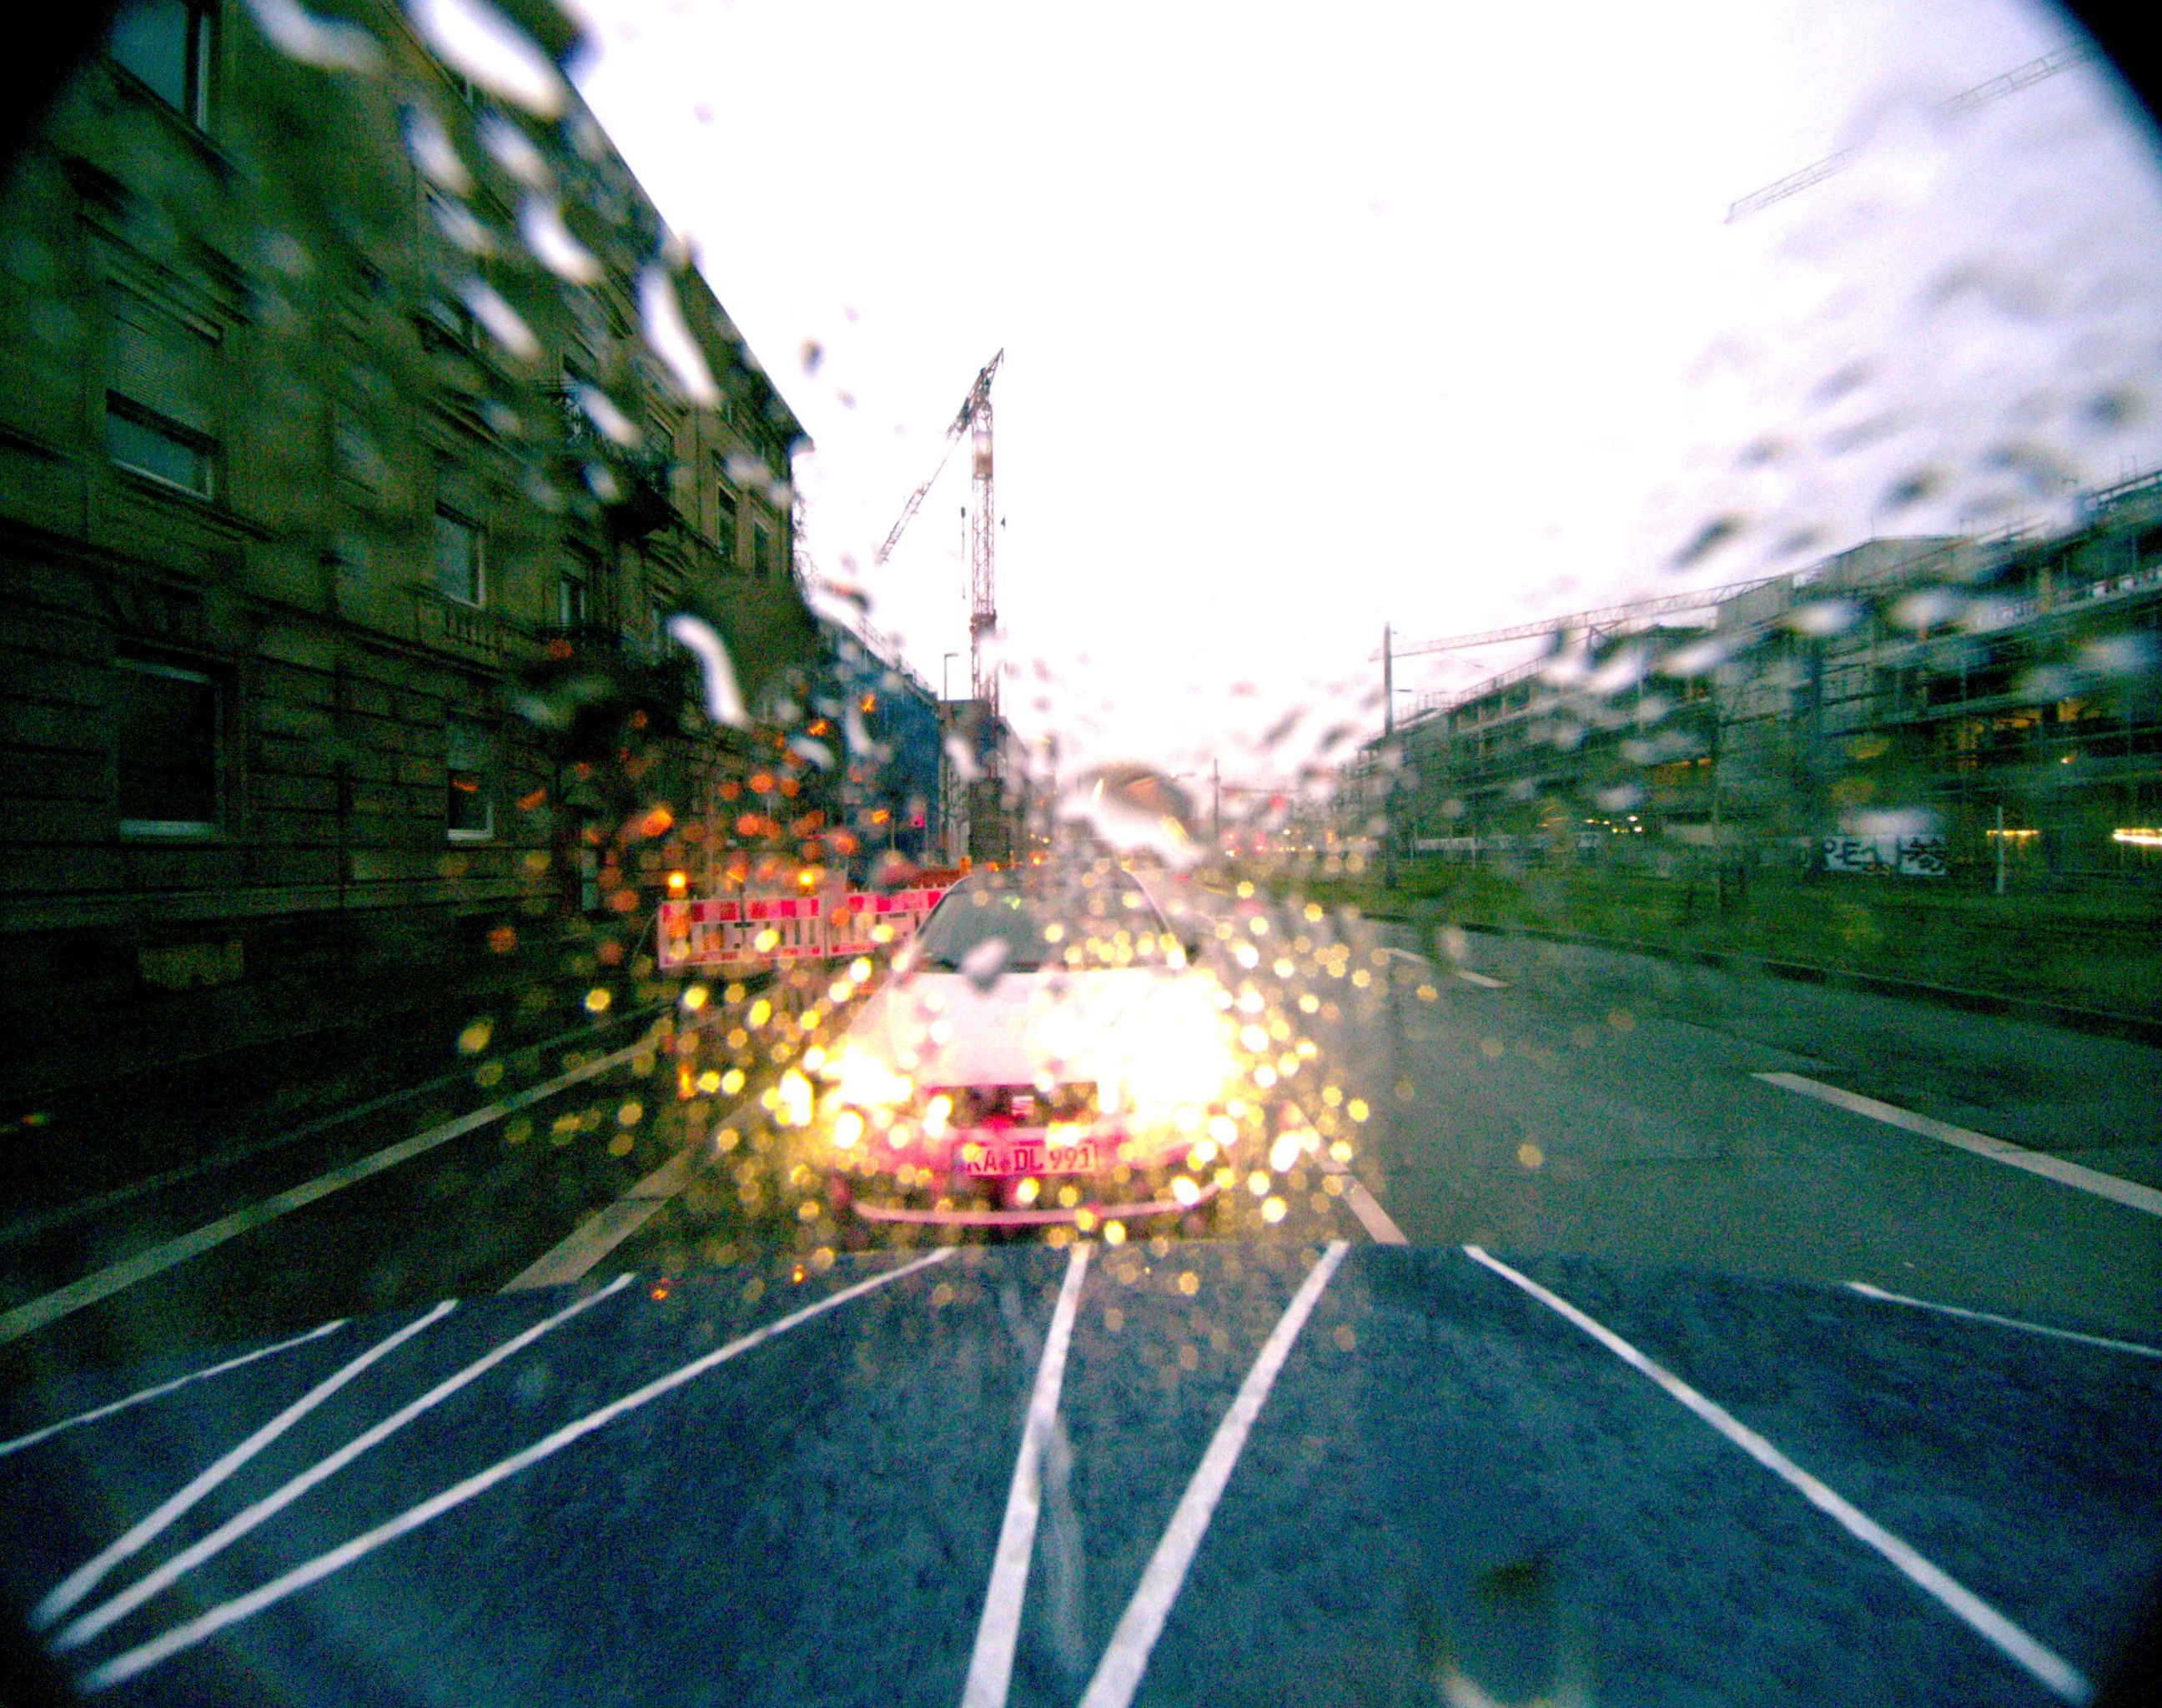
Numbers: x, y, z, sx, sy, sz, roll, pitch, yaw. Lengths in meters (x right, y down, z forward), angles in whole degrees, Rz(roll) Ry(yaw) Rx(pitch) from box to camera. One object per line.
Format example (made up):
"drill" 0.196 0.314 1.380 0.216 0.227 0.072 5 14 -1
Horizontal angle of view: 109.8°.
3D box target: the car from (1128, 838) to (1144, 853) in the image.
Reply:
"car" 6.303 -1.002 87.324 1.768 1.614 3.900 -3 1 4

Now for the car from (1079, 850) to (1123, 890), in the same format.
"car" 0.827 0.666 33.350 1.769 1.504 3.899 -3 1 0

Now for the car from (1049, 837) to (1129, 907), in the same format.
"car" 0.174 0.373 19.292 1.769 1.504 3.899 -3 1 0

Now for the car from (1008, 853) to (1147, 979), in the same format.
"car" -0.054 0.821 11.993 1.769 1.504 3.899 -3 1 0

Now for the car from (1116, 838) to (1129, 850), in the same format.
"car" 5.905 -1.392 107.016 1.768 1.614 3.900 -3 1 4

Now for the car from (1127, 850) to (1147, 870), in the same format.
"car" 5.126 0.520 69.720 1.768 1.614 3.900 -3 1 4

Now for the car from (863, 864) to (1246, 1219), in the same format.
"car" -0.129 0.931 5.601 1.769 1.504 3.899 -3 1 0

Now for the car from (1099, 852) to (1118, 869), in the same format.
"car" 2.661 0.593 72.783 1.768 1.504 3.900 -3 1 3

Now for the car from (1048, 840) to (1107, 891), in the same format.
"car" -0.118 0.324 25.397 1.769 1.504 3.899 -3 1 0
